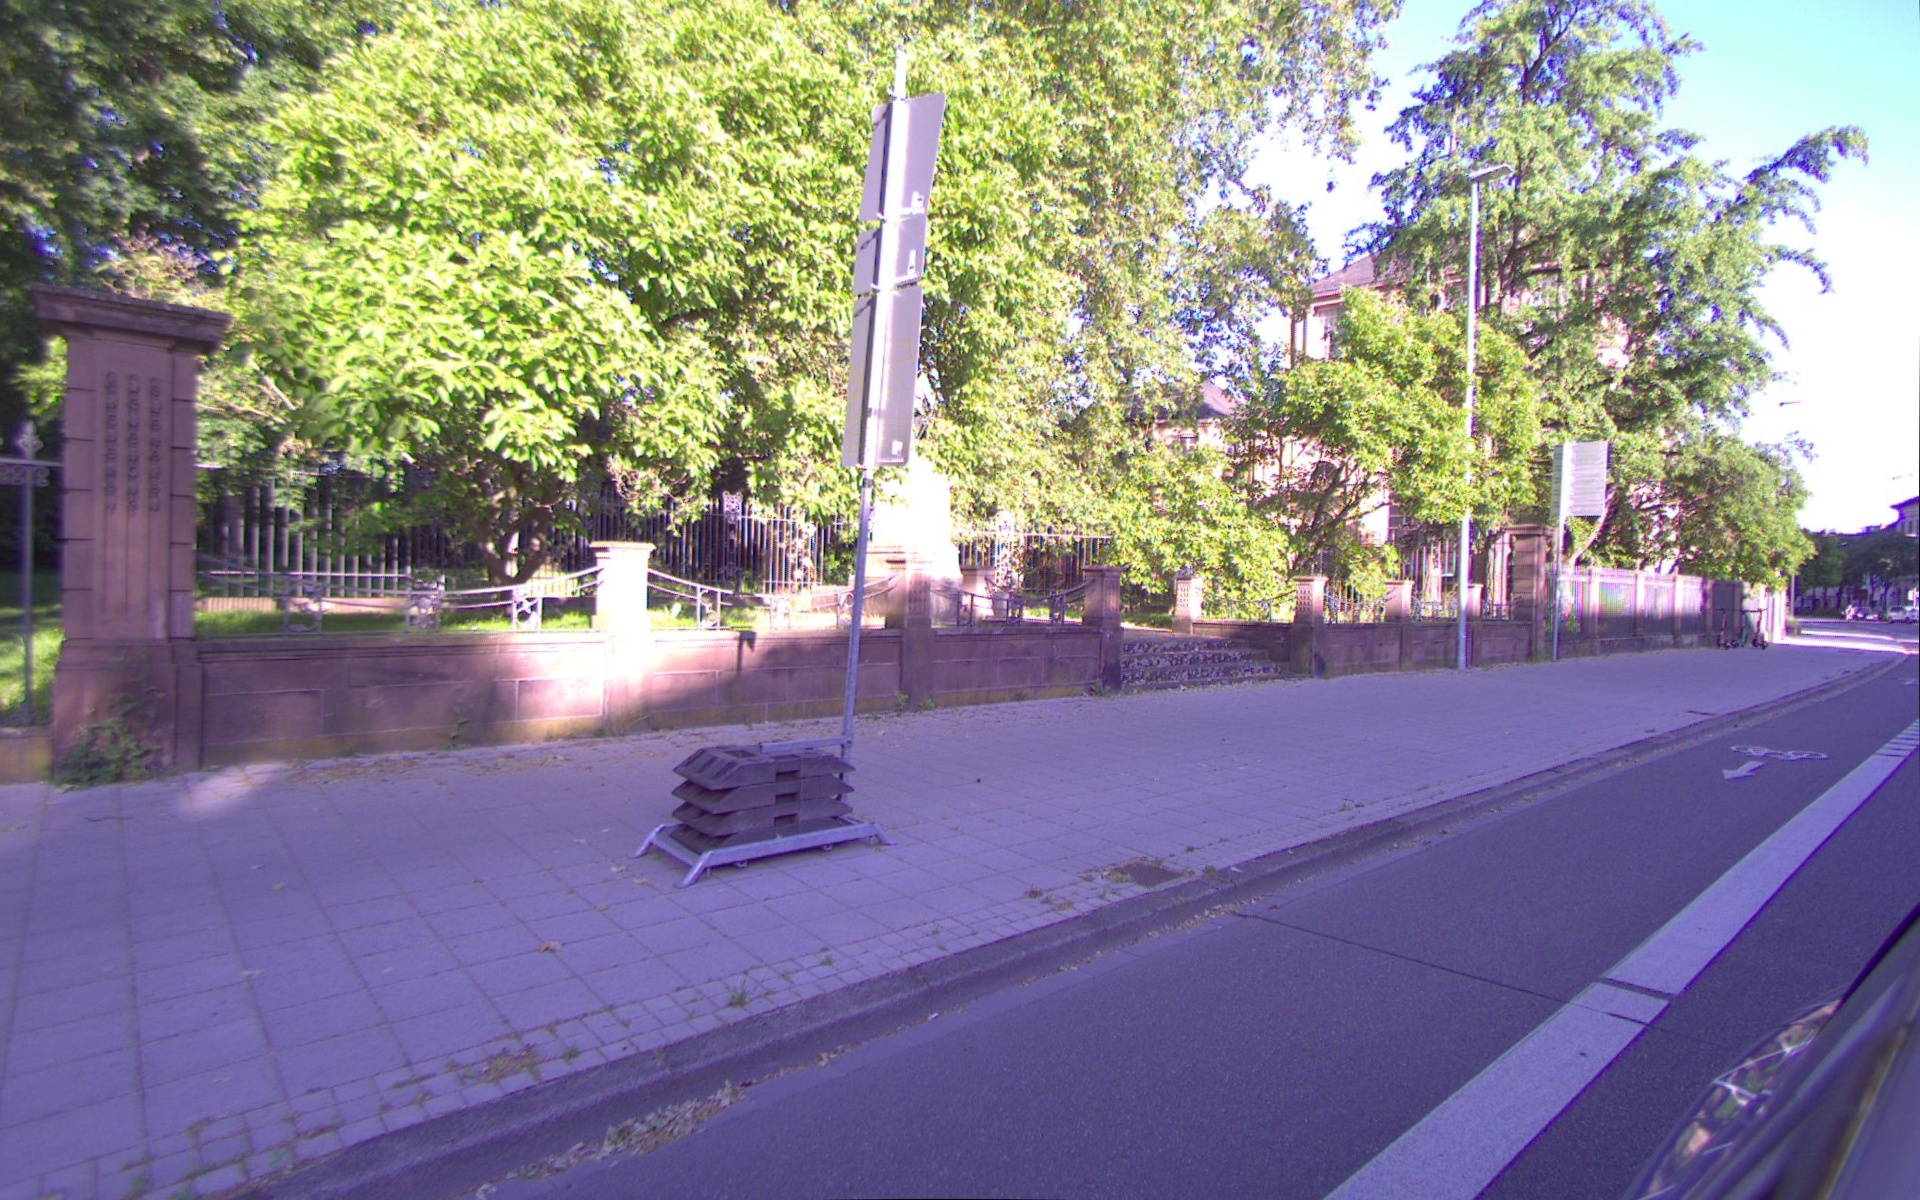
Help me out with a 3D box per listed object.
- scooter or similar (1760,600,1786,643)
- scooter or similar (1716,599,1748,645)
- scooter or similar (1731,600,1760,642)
[{"bbox_3d":[24.717,0.637,30.788,0.514,1.255,1.502,2,2,37],"label":"scooter or similar"},{"bbox_3d":[22.270,0.609,29.215,0.572,1.269,1.470,2,2,33],"label":"scooter or similar"},{"bbox_3d":[23.618,0.626,30.439,0.574,1.199,1.465,3,2,41],"label":"scooter or similar"}]
